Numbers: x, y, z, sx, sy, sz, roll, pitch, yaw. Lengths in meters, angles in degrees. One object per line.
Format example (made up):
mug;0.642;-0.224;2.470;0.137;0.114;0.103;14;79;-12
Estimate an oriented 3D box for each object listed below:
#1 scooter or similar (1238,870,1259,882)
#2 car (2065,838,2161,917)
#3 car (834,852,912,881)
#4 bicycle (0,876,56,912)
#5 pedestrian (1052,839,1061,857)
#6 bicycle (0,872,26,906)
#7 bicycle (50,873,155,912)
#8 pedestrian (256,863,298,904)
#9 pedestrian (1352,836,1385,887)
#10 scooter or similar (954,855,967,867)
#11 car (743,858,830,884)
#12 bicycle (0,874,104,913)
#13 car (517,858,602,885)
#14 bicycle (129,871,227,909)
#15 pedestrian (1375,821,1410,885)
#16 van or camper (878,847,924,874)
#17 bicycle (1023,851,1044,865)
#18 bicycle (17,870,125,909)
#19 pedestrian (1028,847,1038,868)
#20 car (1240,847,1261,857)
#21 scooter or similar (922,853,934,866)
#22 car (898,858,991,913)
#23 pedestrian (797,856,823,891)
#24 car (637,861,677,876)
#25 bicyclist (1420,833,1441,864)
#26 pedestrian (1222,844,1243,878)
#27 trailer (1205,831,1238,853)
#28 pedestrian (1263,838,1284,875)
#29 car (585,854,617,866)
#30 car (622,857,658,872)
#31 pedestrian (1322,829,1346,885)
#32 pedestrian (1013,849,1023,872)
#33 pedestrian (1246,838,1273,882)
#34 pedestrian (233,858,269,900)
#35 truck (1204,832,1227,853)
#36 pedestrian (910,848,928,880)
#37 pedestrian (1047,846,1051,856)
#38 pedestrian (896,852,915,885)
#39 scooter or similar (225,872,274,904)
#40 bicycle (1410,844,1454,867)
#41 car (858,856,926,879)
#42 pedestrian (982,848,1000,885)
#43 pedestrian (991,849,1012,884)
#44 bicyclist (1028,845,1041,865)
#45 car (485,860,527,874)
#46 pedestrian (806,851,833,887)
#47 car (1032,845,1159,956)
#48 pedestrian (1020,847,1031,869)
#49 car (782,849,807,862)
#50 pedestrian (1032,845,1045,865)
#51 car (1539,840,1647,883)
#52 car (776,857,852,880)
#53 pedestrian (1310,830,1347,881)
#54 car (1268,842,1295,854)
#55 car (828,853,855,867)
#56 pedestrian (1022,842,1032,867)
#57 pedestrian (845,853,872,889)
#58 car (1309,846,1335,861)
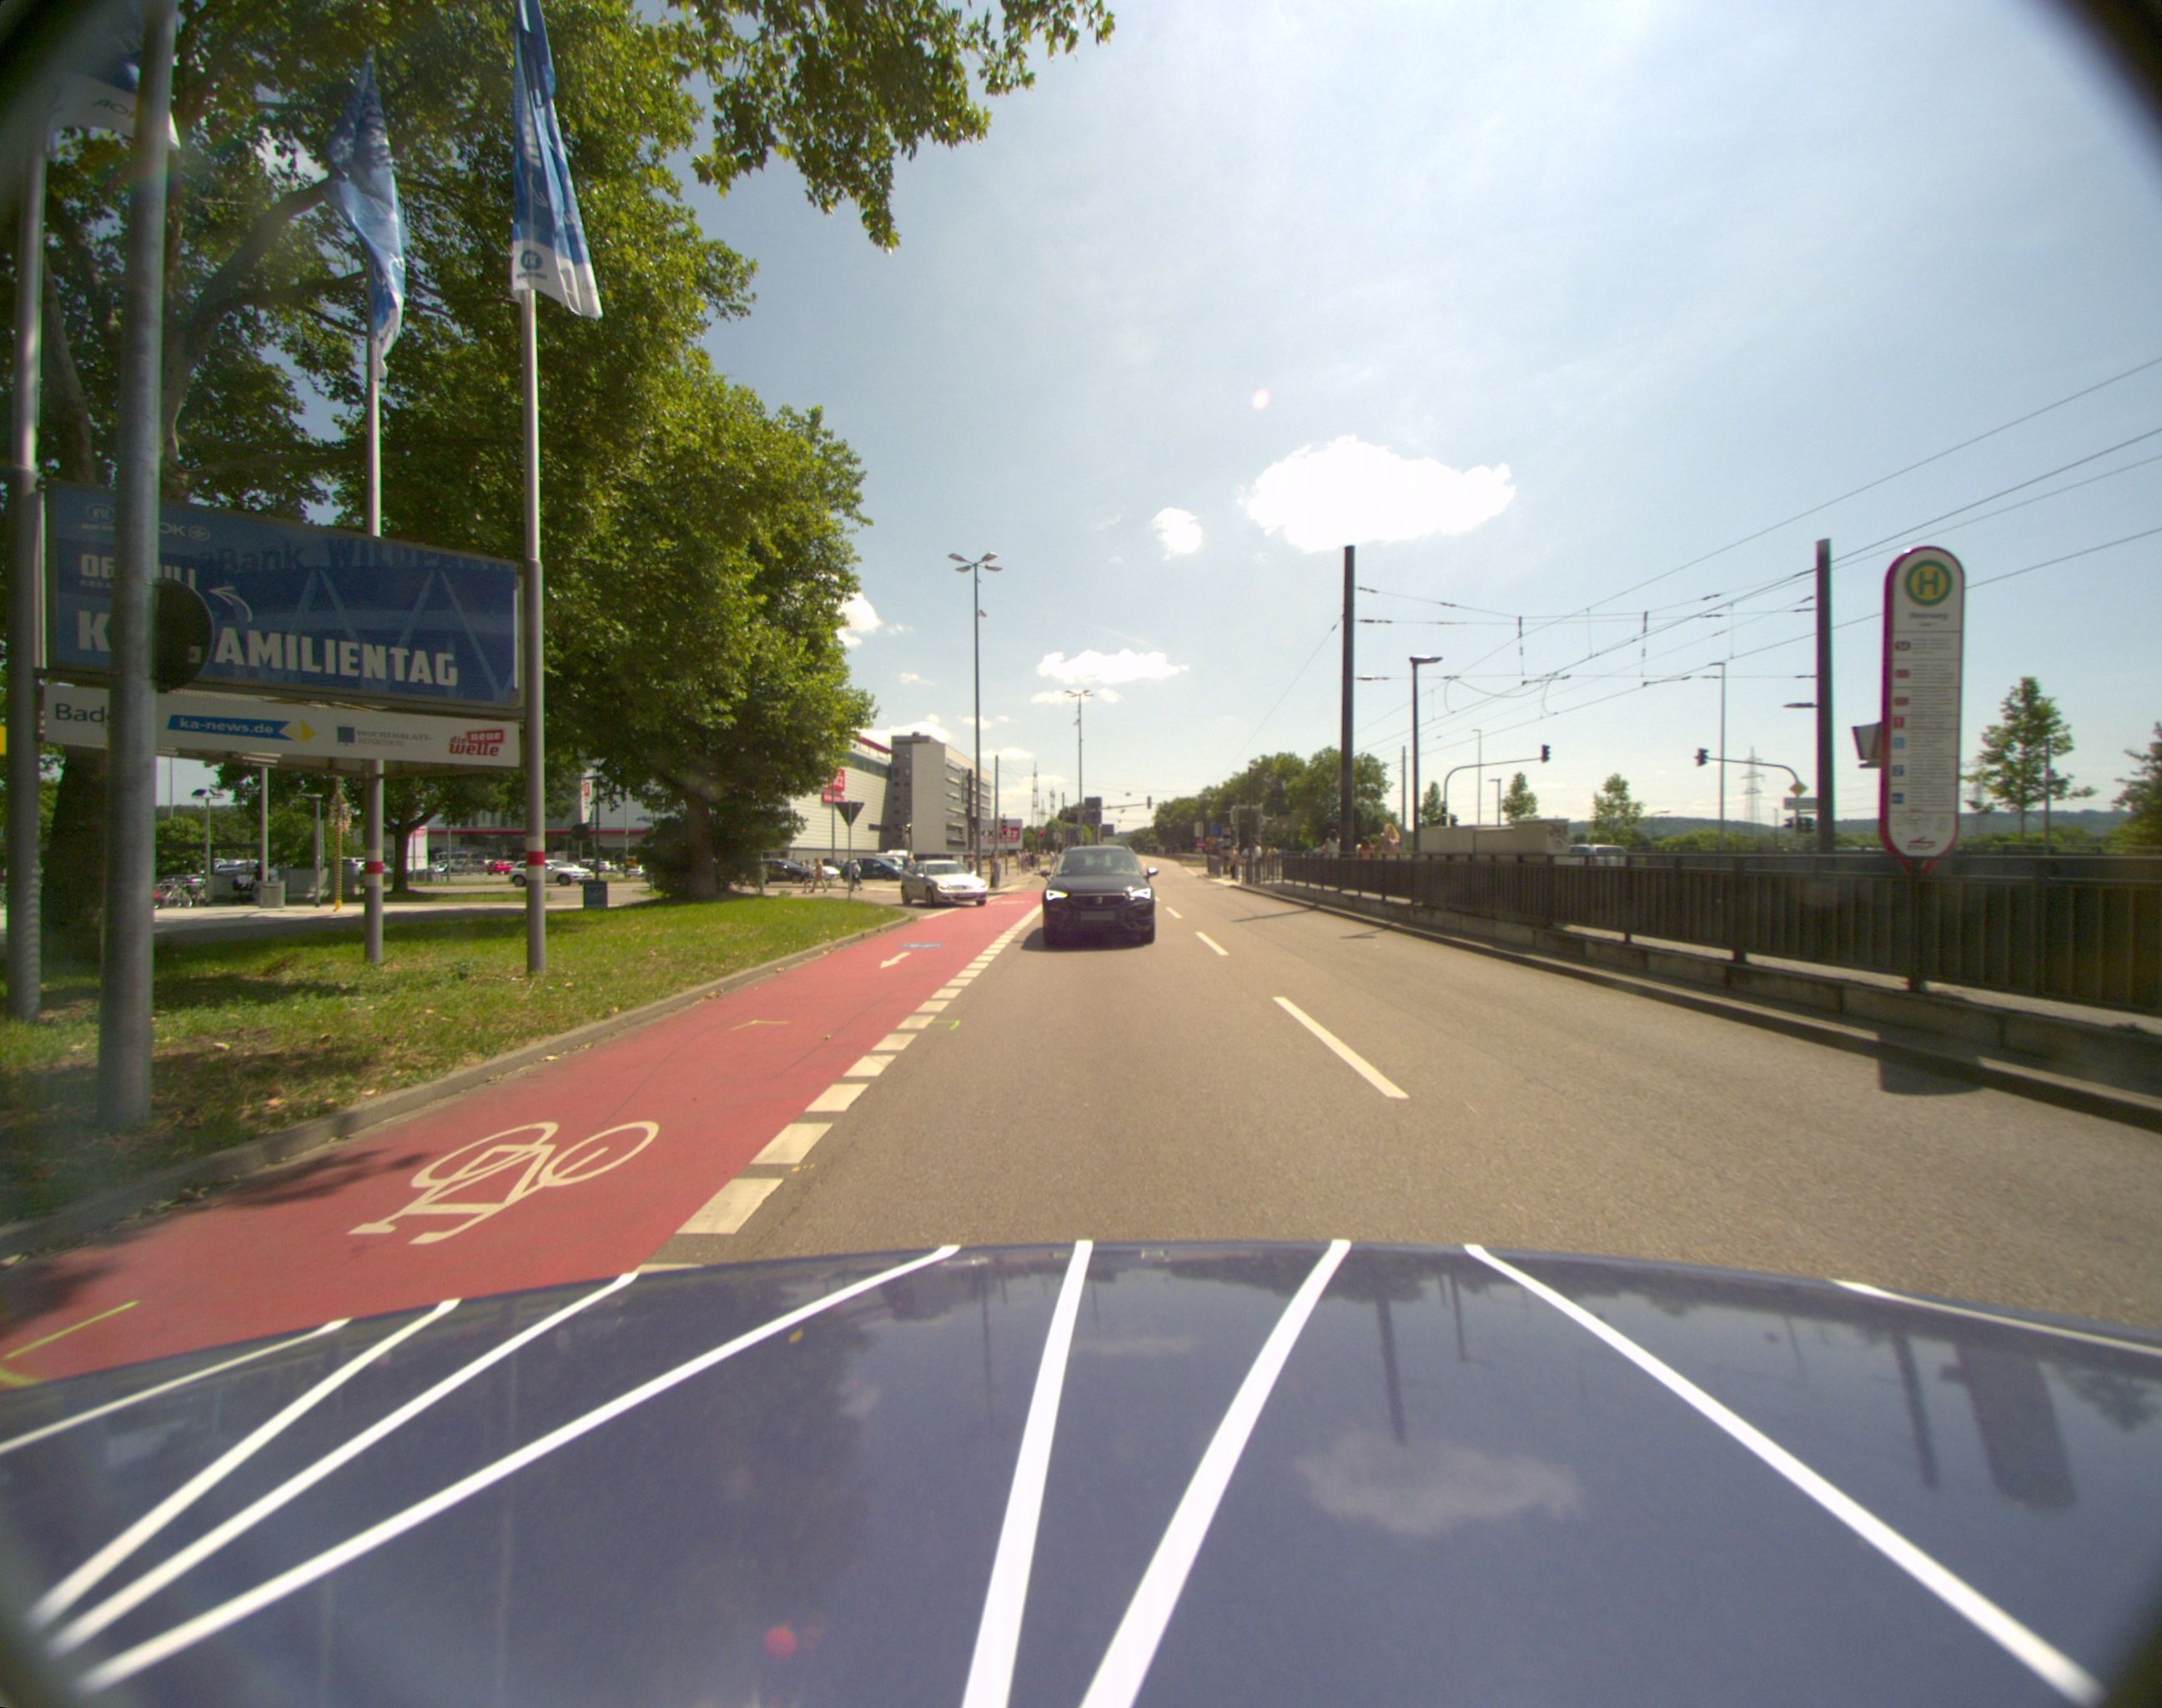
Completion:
scooter or similar;6.919;0.910;31.416;0.728;0.503;0.457;-1;1;-1
car;23.827;0.504;15.638;1.998;1.619;3.999;-1;1;1
car;-12.404;0.745;45.462;3.996;1.546;2.001;-2;0;3
bicycle;-37.680;1.401;26.522;0.803;1.192;2.430;-1;1;-11
pedestrian;-2.021;-0.468;62.022;0.591;1.467;0.805;-2;1;-8
bicycle;-38.739;1.266;26.484;0.803;1.192;2.430;-1;1;-11
bicycle;-34.042;1.316;26.504;0.803;1.192;2.430;-1;1;-11
pedestrian;-31.628;1.152;29.904;0.920;1.577;0.633;-1;1;-3
pedestrian;7.753;0.192;20.510;0.615;1.337;0.719;-1;1;0
scooter or similar;-12.453;0.716;78.643;0.479;1.120;1.280;-1;5;31
car;-17.481;0.981;45.242;4.411;1.435;1.853;-1;1;1
bicycle;-36.433;1.367;26.928;0.803;1.192;2.430;-1;1;-11
car;-33.458;1.080;48.803;4.077;1.630;2.000;-1;1;3
bicycle;-31.246;1.221;26.360;0.803;1.138;2.430;-1;1;-11
pedestrian;8.390;-0.032;20.462;0.615;1.672;0.719;-1;1;0
van or camper;-21.692;0.782;92.054;2.714;2.929;7.616;-2;1;8
bicycle;-4.185;0.369;66.988;0.833;1.155;1.874;-1;0;-44
bicycle;-34.887;1.207;26.324;0.803;1.192;2.430;-1;1;-11
pedestrian;-3.775;0.258;59.769;0.784;1.663;0.946;-1;1;-6
car;26.163;-0.342;117.633;1.999;1.455;4.277;-1;0;-4
scooter or similar;-14.896;0.544;74.001;0.479;1.283;1.281;-1;1;21
car;-4.350;0.902;23.690;1.734;1.410;4.312;-3;2;-26
pedestrian;-12.938;0.932;36.295;0.796;1.650;0.853;-1;1;19
car;-44.489;1.507;79.828;1.852;1.368;3.943;-1;1;4
bicyclist;17.999;-0.282;39.115;0.666;1.606;0.732;-2;1;-14
pedestrian;7.072;0.321;35.551;0.787;1.564;0.764;-1;1;-1
trailer;26.054;-2.065;142.151;3.123;3.848;15.480;-1;0;-1
pedestrian;8.651;0.108;34.154;0.734;1.663;0.678;-1;1;-1
car;-66.847;0.839;105.844;1.693;1.518;4.000;-2;1;3
car;-52.163;1.240;89.935;1.853;1.537;3.999;-1;1;-1
pedestrian;7.185;0.093;21.574;0.498;1.569;0.557;-1;1;0
pedestrian;-4.193;0.431;50.881;0.528;1.571;0.612;-1;1;6
pedestrian;7.427;0.223;31.566;0.865;1.792;0.883;-1;1;-2
pedestrian;-31.875;0.957;29.190;0.611;1.577;0.633;-1;1;-3
truck;26.377;-2.245;149.550;3.134;4.016;7.473;-1;1;-1
pedestrian;-8.448;0.510;39.666;0.607;1.629;0.864;-1;3;11
pedestrian;-5.589;-0.521;132.721;0.518;1.783;0.634;-1;1;3
pedestrian;-9.111;0.749;39.538;0.603;1.629;0.864;-1;3;11
scooter or similar;-32.606;1.331;29.818;1.076;1.191;0.728;-1;1;0
bicycle;18.090;0.079;39.146;1.979;1.095;0.763;-2;1;-13
car;-12.039;0.852;48.575;3.833;1.389;1.803;-1;1;1
pedestrian;-4.142;0.560;34.906;0.725;1.674;0.624;-1;1;-2
pedestrian;-3.720;0.569;35.703;0.896;1.597;0.767;-1;1;-2
bicyclist;-4.080;0.073;66.876;0.818;1.691;0.797;-1;1;-44
car;-73.236;1.623;96.857;1.852;1.692;4.172;-1;1;6
pedestrian;-12.220;0.694;35.496;0.796;1.650;0.853;-1;1;19
car;0.365;0.680;13.305;1.819;1.583;4.001;-3;1;4
pedestrian;-4.810;0.349;65.747;0.805;1.854;0.798;-1;1;6
car;-45.791;0.196;121.544;1.998;1.911;4.520;-1;1;4
pedestrian;-3.697;0.076;65.520;0.807;1.750;0.796;-2;2;-28
car;21.391;0.257;31.942;1.998;1.620;4.000;-2;1;3
car;-17.136;0.917;48.827;4.227;1.390;1.805;-1;1;9
pedestrian;7.960;0.050;24.440;0.892;1.596;0.924;-1;1;1
car;25.965;-0.742;98.580;1.999;1.436;4.347;-1;0;-5
car;-32.969;0.765;104.676;1.998;1.707;4.503;-2;1;4
pedestrian;-3.614;0.013;50.988;0.528;1.656;0.640;-1;1;6
pedestrian;-10.547;0.805;36.000;0.795;1.650;0.853;-1;1;23
car;26.638;-0.097;84.109;1.997;1.620;4.311;-1;0;9
